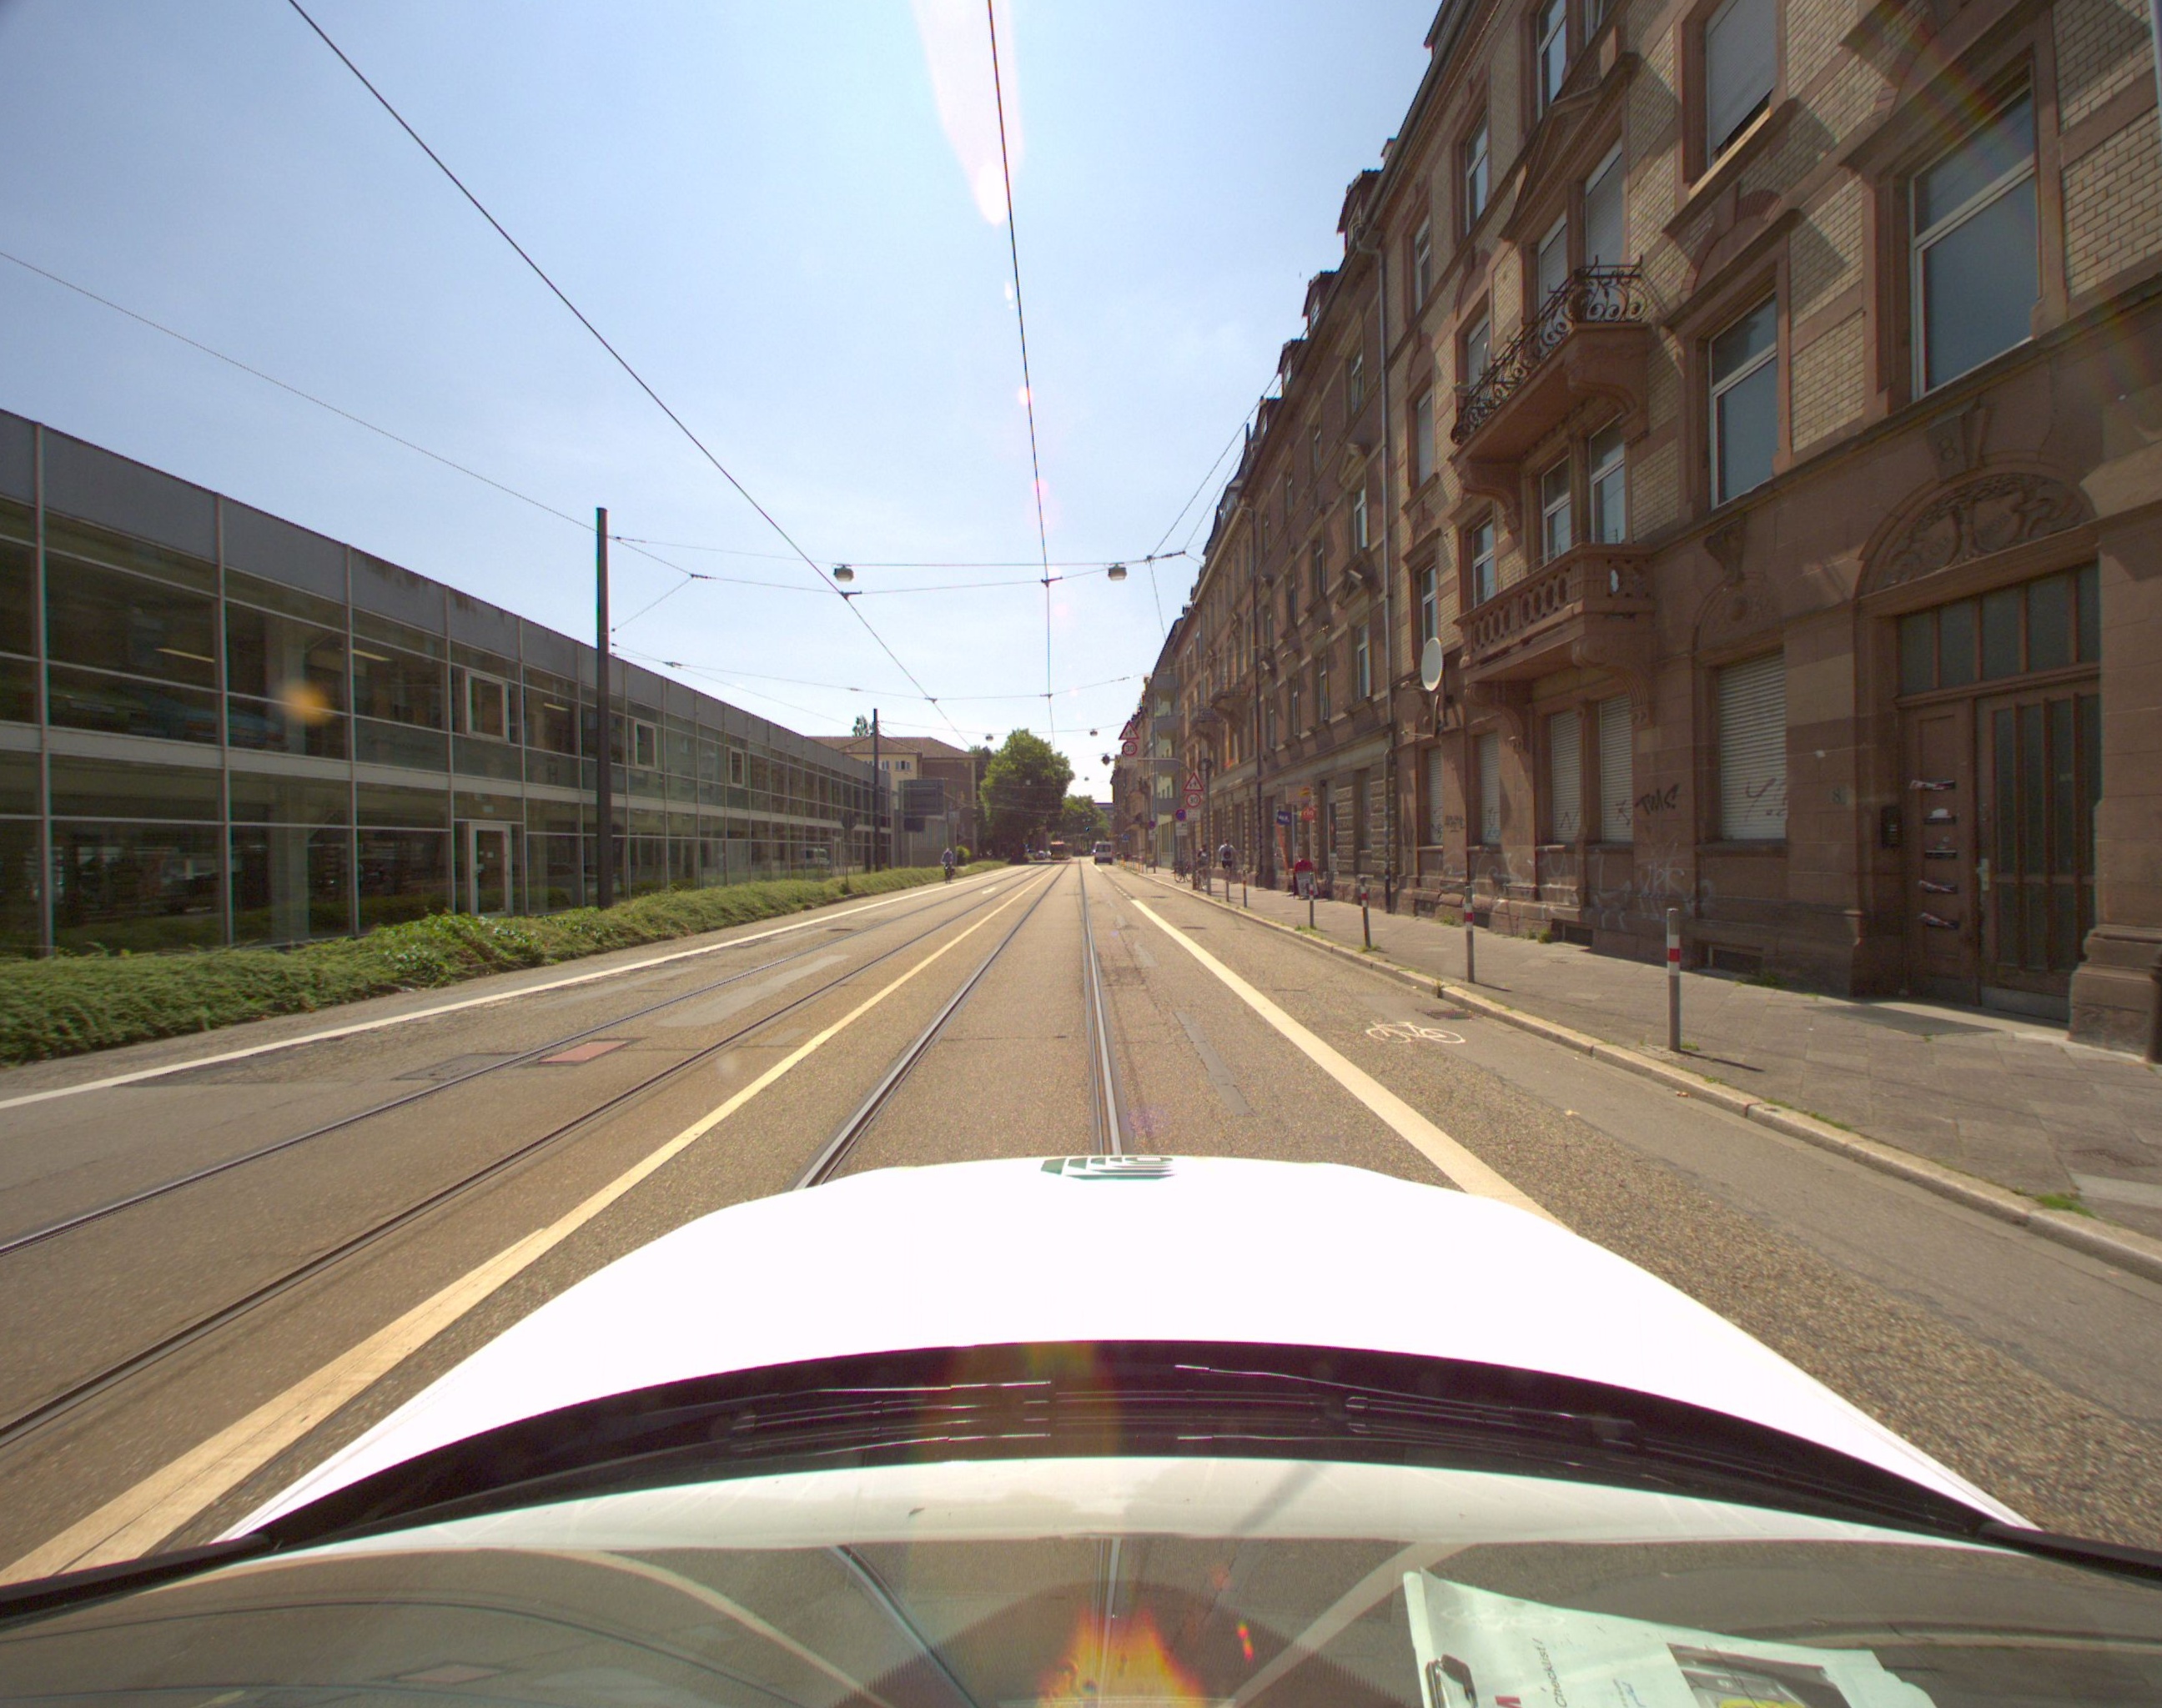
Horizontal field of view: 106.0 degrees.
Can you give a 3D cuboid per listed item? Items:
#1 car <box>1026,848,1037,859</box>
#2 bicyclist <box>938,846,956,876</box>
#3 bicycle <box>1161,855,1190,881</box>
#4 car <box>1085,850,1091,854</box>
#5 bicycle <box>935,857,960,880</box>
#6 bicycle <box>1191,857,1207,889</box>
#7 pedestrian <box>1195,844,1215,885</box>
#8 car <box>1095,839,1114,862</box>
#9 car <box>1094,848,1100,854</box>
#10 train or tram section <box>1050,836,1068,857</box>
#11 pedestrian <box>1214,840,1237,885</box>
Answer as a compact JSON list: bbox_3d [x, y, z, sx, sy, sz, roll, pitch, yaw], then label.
[{"bbox_3d":[-8.655,-0.096,141.956,1.796,1.923,3.997,0,0,-2],"label":"car"},{"bbox_3d":[-7.071,0.353,43.022,0.695,1.548,0.981,-2,0,3],"label":"bicyclist"},{"bbox_3d":[4.420,0.652,37.874,0.494,1.130,2.257,-2,0,28],"label":"bicycle"},{"bbox_3d":[2.116,-0.627,250.381,1.524,1.408,3.486,0,0,-2],"label":"car"},{"bbox_3d":[-7.049,0.738,43.070,0.695,1.144,2.498,-2,0,4],"label":"bicycle"},{"bbox_3d":[4.358,0.679,30.133,0.445,1.097,2.426,-2,0,5],"label":"bicycle"},{"bbox_3d":[5.291,0.447,34.793,0.718,1.720,0.644,-2,0,1],"label":"pedestrian"},{"bbox_3d":[2.661,-0.410,92.039,2.060,2.501,5.455,0,0,1],"label":"car"},{"bbox_3d":[4.971,-0.921,258.734,1.670,1.860,3.996,0,0,-3],"label":"car"},{"bbox_3d":[-3.775,-1.275,143.472,2.952,3.580,13.419,-1,0,-1],"label":"train or tram section"},{"bbox_3d":[6.159,0.374,34.688,0.700,1.848,0.644,-5,0,1],"label":"pedestrian"}]
